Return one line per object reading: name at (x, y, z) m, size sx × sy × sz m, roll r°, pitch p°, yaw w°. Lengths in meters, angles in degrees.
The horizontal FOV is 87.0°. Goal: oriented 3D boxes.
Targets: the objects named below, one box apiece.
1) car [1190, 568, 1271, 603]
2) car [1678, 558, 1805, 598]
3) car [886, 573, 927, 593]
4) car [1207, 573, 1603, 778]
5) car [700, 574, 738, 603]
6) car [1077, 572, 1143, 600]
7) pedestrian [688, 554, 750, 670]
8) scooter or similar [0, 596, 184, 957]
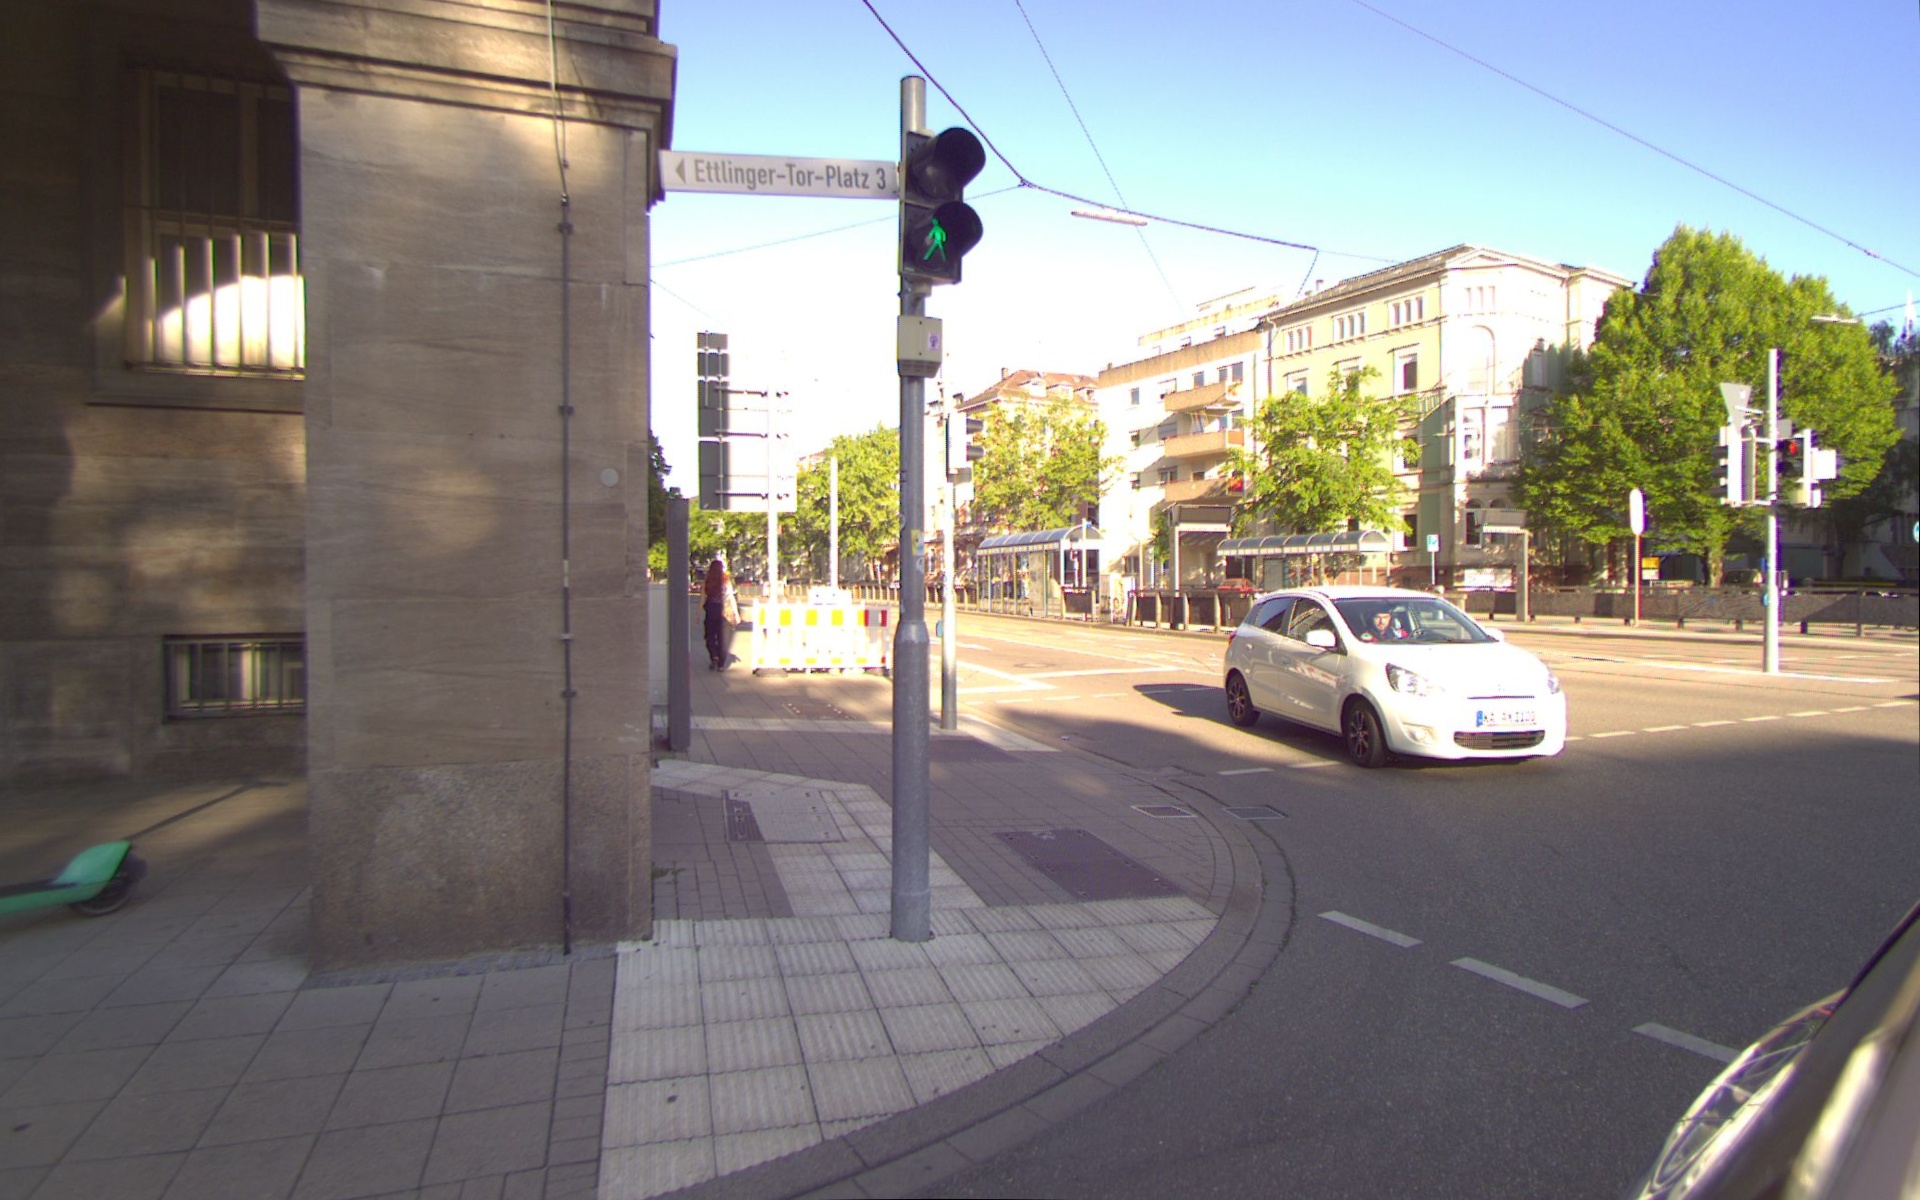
car at (13.791, -0.773, 51.528) m, size 3.923 × 1.604 × 1.741 m, roll -3°, pitch 2°, yaw -33°
car at (33.493, -0.957, 43.506) m, size 1.704 × 1.604 × 4.008 m, roll -3°, pitch 2°, yaw -22°
car at (-4.604, -1.481, 87.683) m, size 1.724 × 1.604 × 3.963 m, roll -1°, pitch 2°, yaw 28°
car at (3.931, 0.524, 9.701) m, size 1.645 × 1.482 × 3.772 m, roll -2°, pitch 2°, yaw -10°
car at (-17.812, -0.851, 74.625) m, size 1.725 × 2.039 × 3.710 m, roll -1°, pitch 1°, yaw -31°
car at (8.950, -0.857, 60.631) m, size 1.706 × 1.604 × 4.004 m, roll -3°, pitch 2°, yaw -31°
pedestrian at (-3.612, 0.171, 15.142) m, size 0.722 × 1.642 × 0.921 m, roll 4°, pitch -1°, yaw -18°
scooter or similar at (-3.717, 0.643, 3.705) m, size 0.638 × 1.238 × 1.248 m, roll 3°, pitch 4°, yaw 37°
